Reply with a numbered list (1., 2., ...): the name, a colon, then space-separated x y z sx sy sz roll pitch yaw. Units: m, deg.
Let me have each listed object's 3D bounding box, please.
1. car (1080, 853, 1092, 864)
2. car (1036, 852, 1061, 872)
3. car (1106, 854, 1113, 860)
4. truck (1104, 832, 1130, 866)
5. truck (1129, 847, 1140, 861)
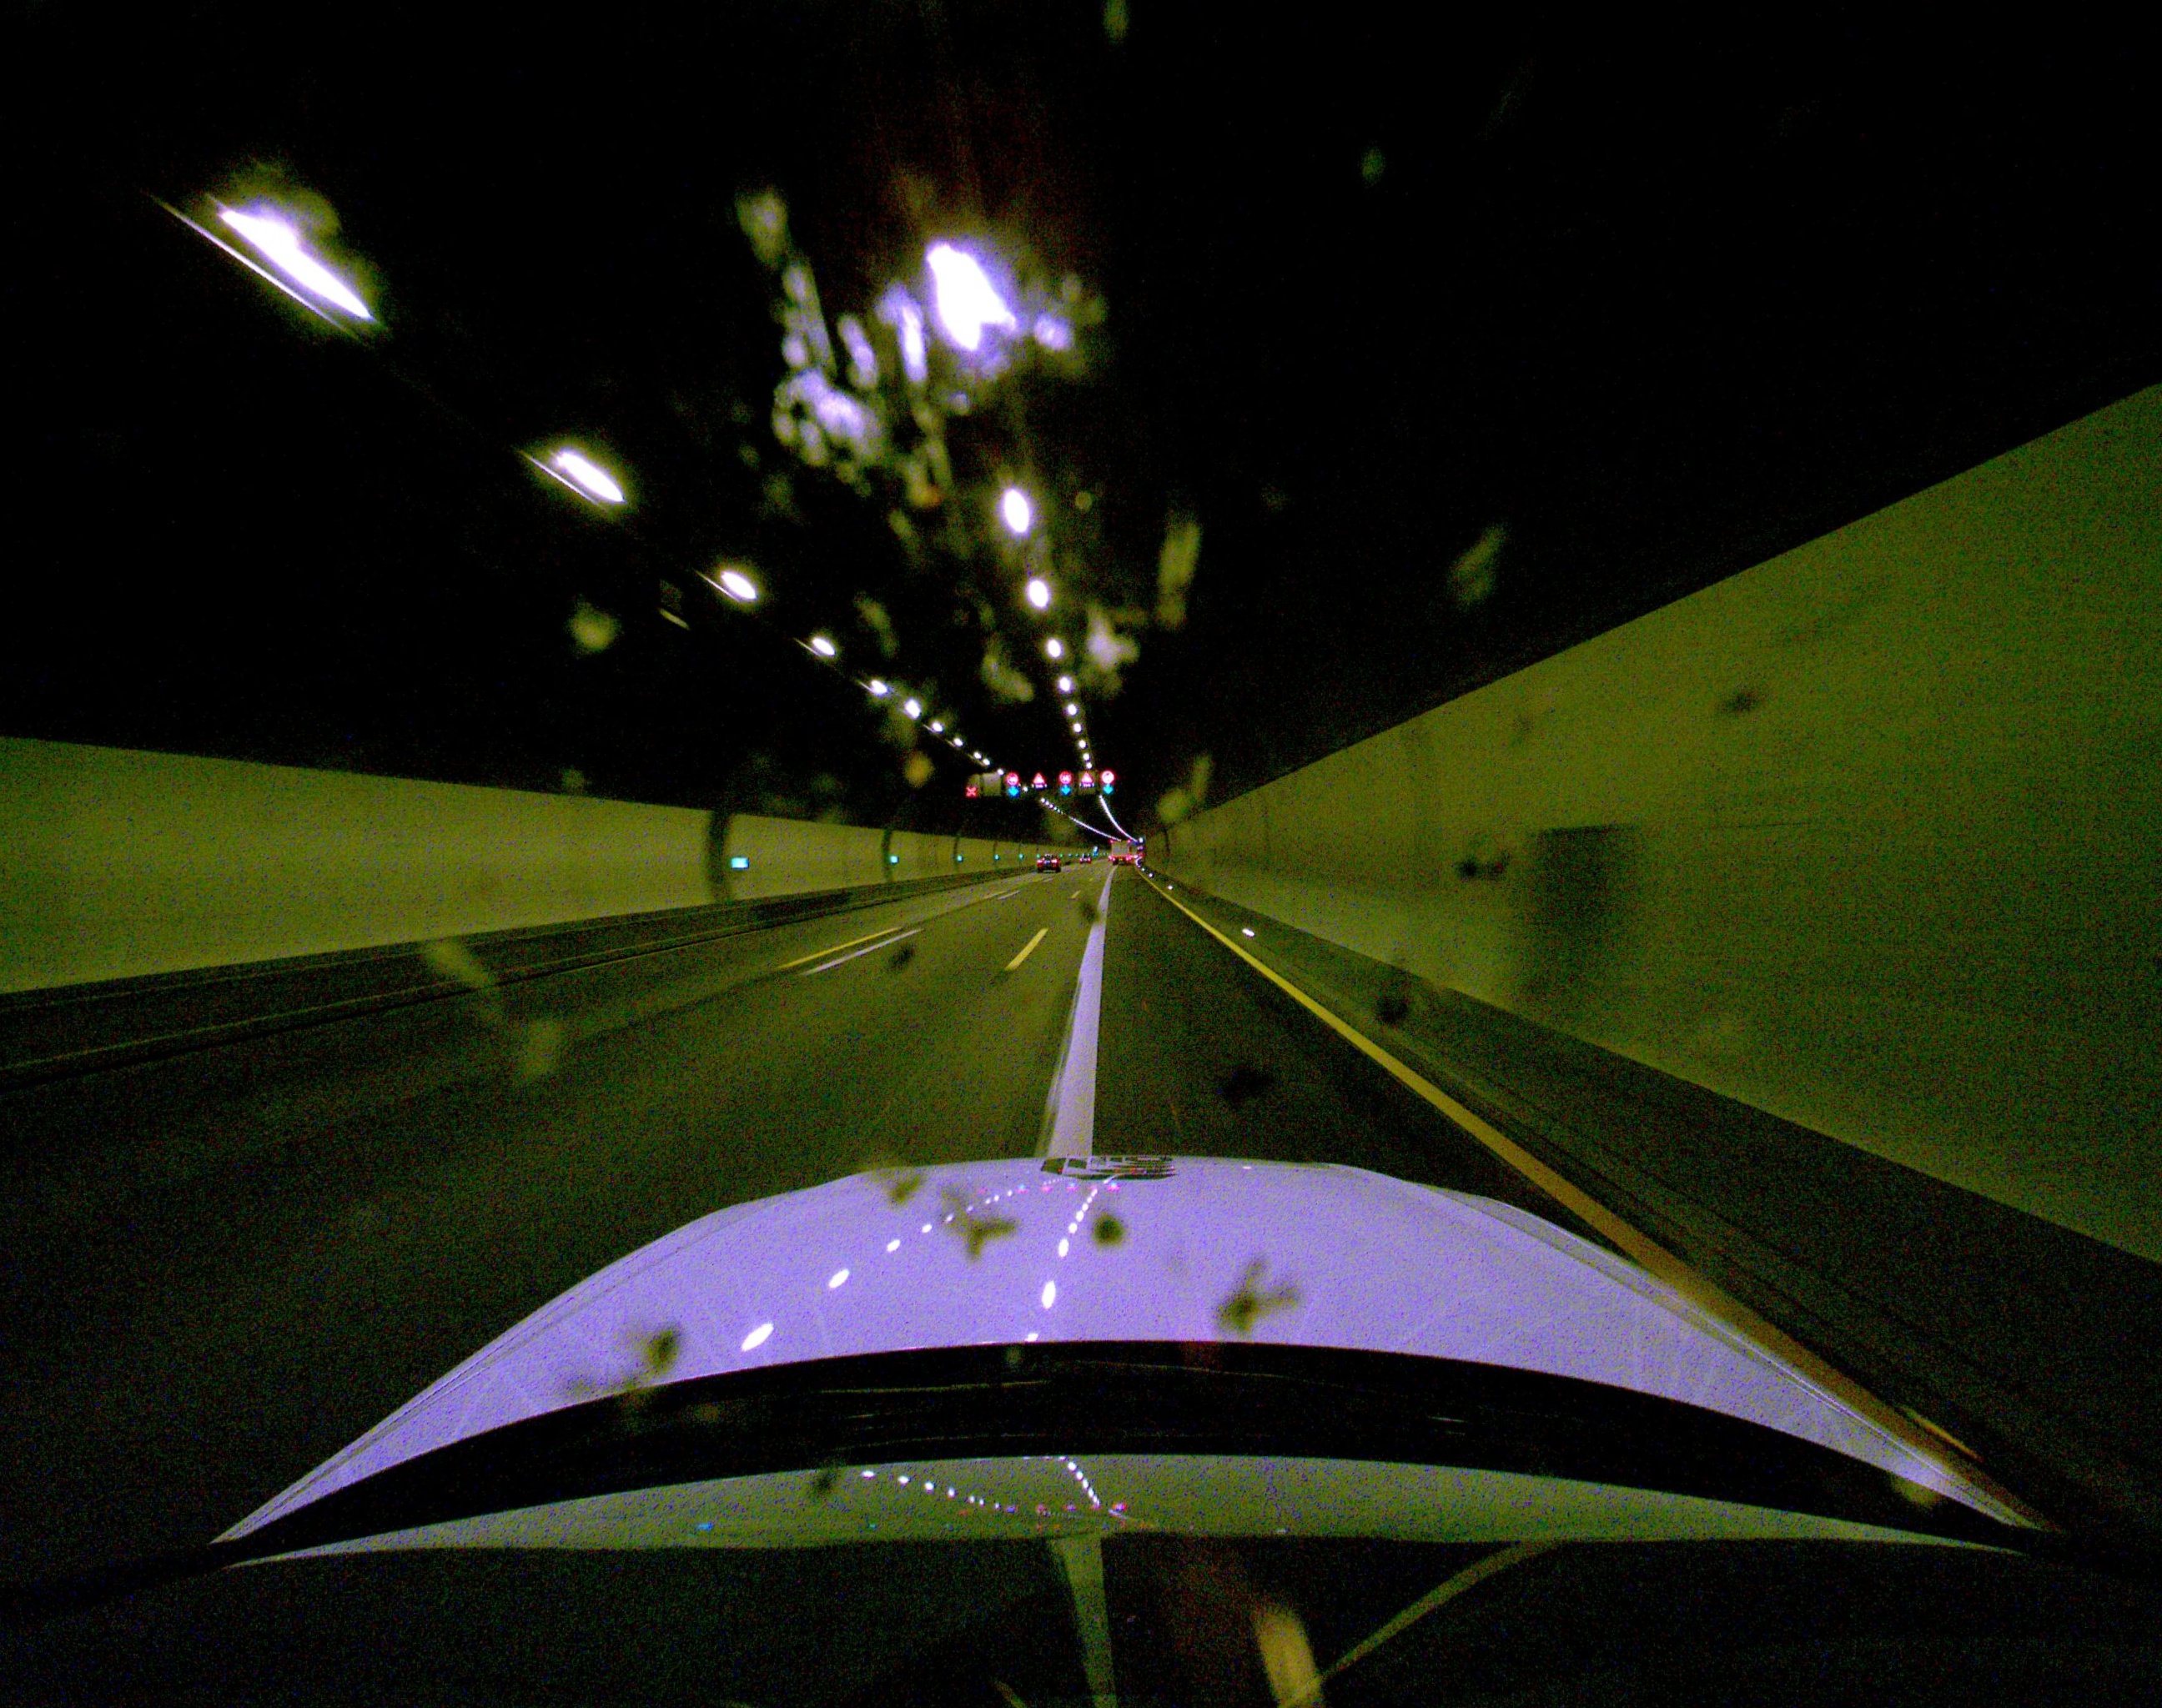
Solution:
1. car: 0.768 0.661 128.905 1.806 1.520 4.002 -1 1 1
2. car: -2.778 0.683 71.056 1.805 1.618 4.003 -1 0 3
3. car: 6.623 0.616 191.637 1.645 1.274 4.002 -1 1 1
4. truck: 5.275 -0.686 122.173 3.267 4.650 17.286 -2 0 1
5. truck: 16.267 -0.076 247.570 2.910 4.048 14.042 -2 0 4
